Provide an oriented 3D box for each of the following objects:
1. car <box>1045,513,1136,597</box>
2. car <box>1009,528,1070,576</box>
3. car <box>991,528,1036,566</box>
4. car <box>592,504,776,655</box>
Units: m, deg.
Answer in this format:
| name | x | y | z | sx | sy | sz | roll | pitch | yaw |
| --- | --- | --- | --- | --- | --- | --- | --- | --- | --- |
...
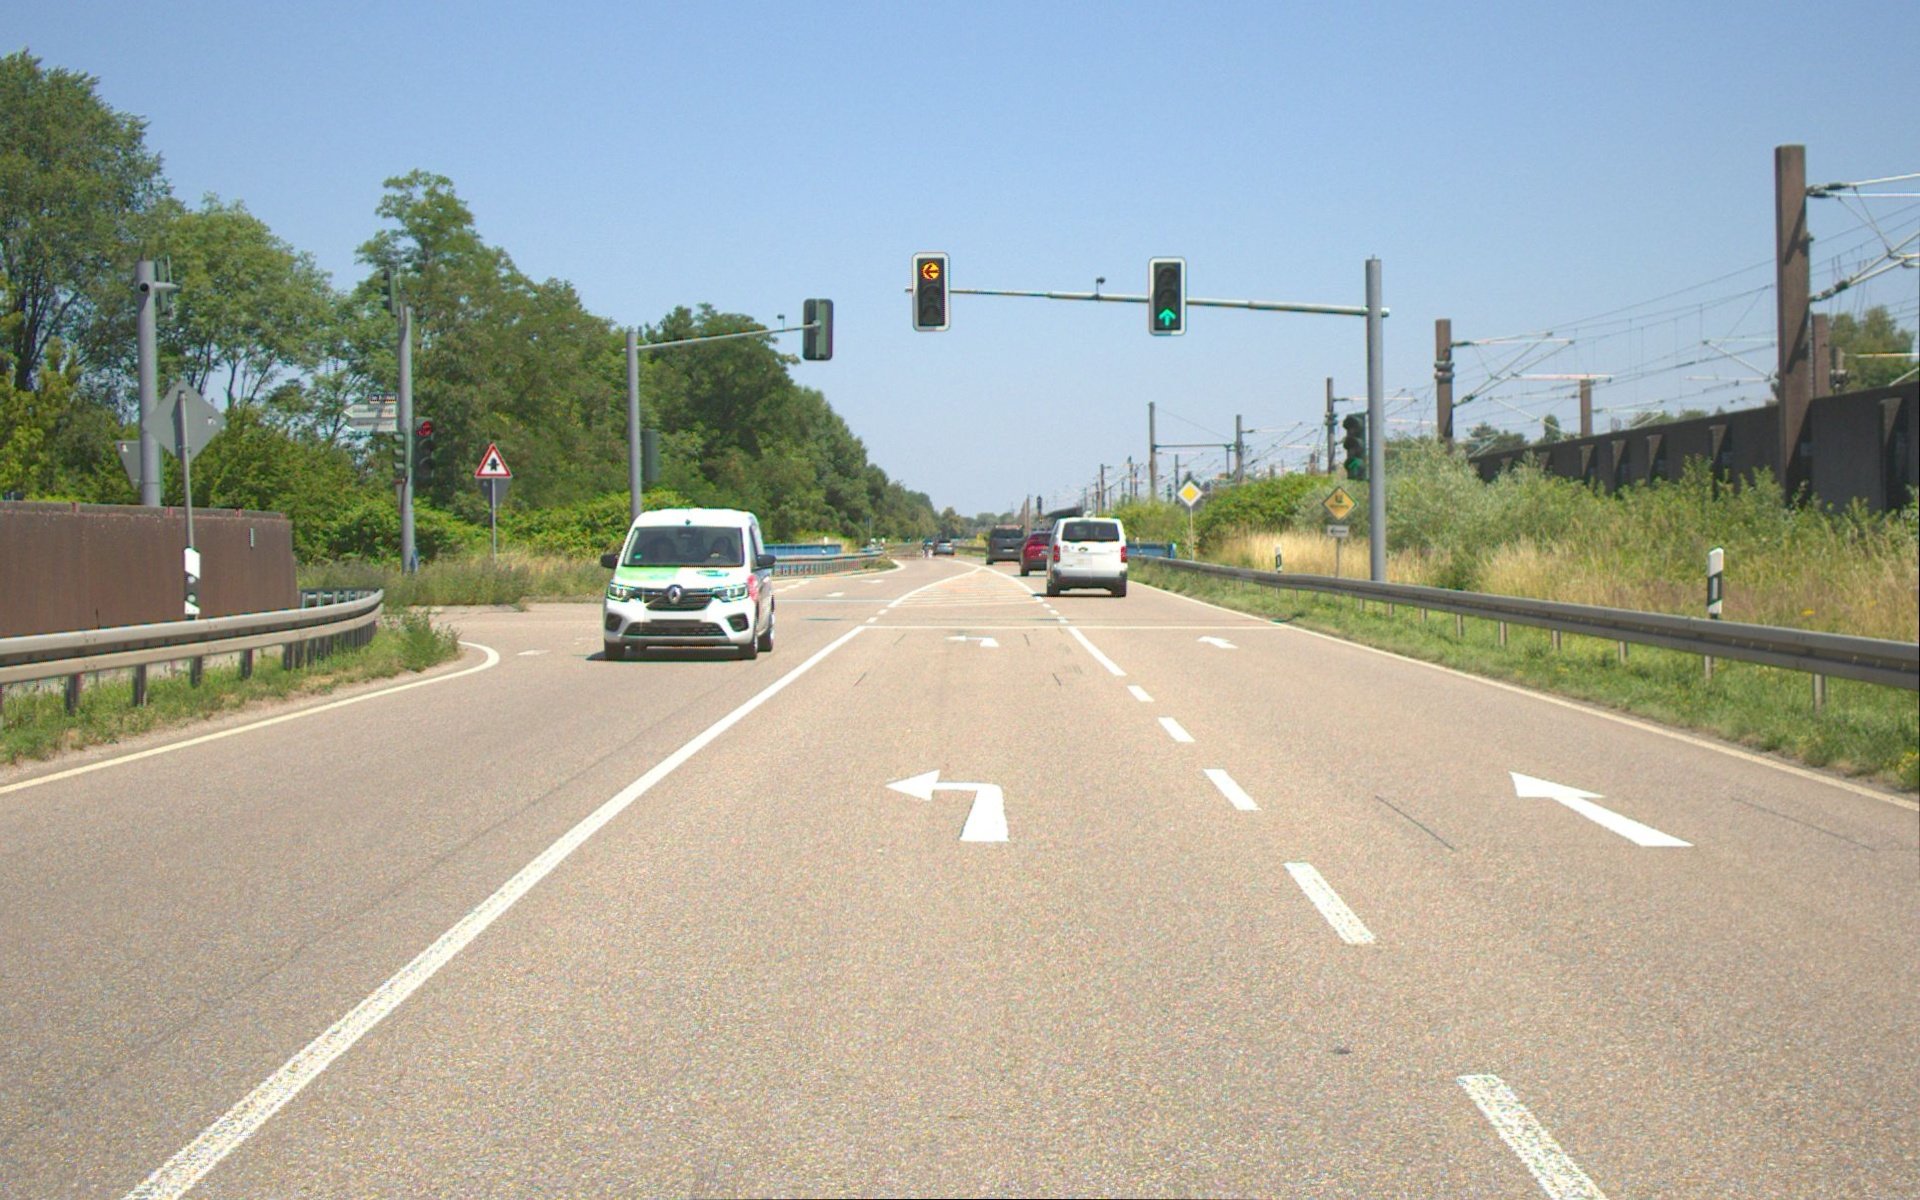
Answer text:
| name | x | y | z | sx | sy | sz | roll | pitch | yaw |
| --- | --- | --- | --- | --- | --- | --- | --- | --- | --- |
| car | 3.169 | -1.123 | 84.286 | 1.993 | 1.977 | 4.060 | 1 | 1 | -1 |
| car | 2.867 | -1.749 | 125.111 | 2.019 | 1.720 | 4.543 | 0 | 1 | -1 |
| car | 2.781 | -2.767 | 180.411 | 2.154 | 1.961 | 4.543 | 0 | 1 | -1 |
| car | -3.333 | -0.283 | 42.277 | 1.887 | 1.734 | 4.777 | 0 | 1 | 0 |
